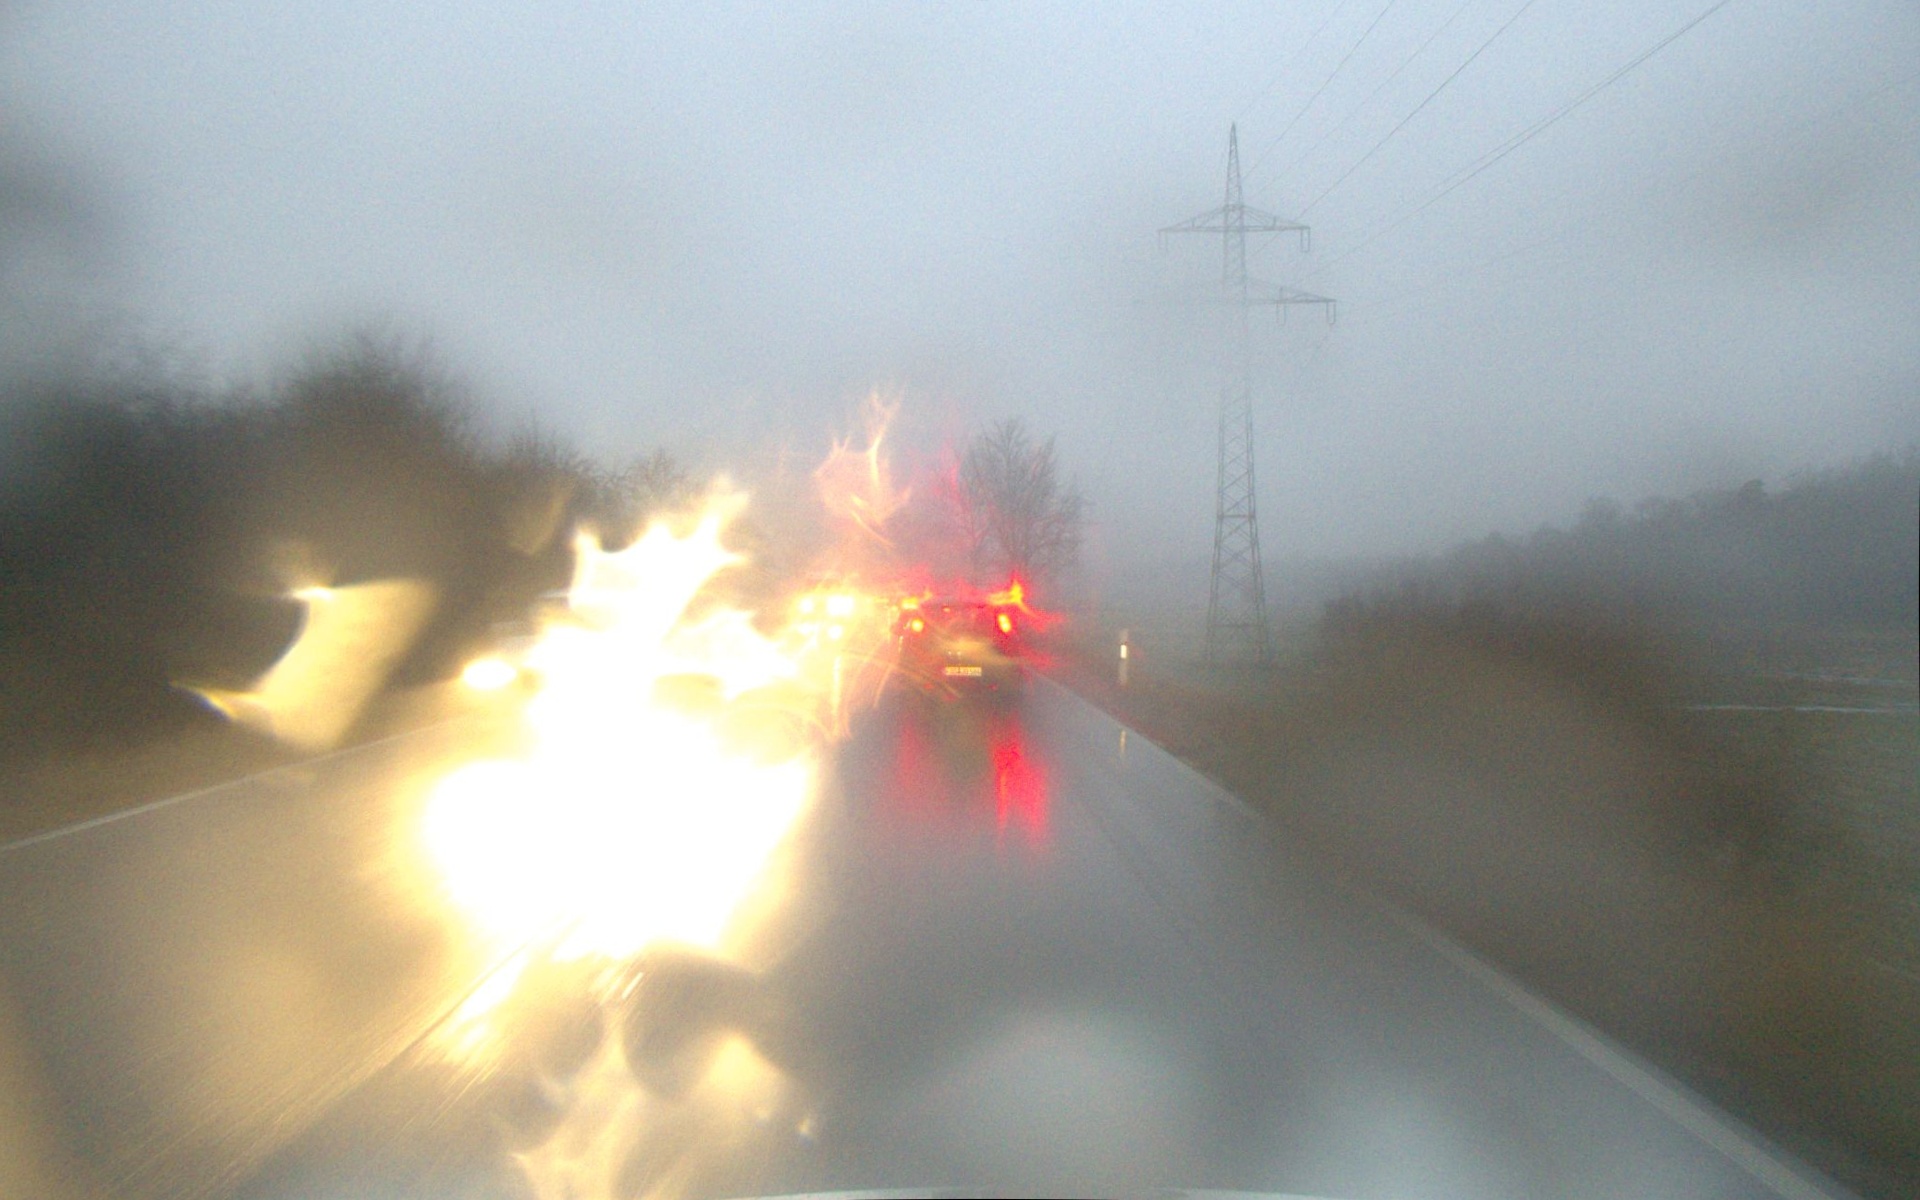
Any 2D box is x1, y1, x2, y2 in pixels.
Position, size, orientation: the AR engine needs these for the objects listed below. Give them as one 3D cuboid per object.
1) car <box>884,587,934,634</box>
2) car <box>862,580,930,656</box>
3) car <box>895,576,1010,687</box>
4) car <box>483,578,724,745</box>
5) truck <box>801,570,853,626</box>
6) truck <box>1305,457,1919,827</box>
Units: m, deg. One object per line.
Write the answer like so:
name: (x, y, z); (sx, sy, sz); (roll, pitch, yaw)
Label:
car: (-2.027, 0.376, 64.670); (1.826, 1.729, 4.465); (1, 0, -3)
car: (-1.768, 0.488, 46.914); (1.815, 2.049, 3.999); (1, 0, -1)
car: (-0.125, 0.406, 23.121); (1.470, 1.423, 3.199); (1, 0, -1)
car: (-3.622, 0.551, 17.542); (1.654, 1.533, 4.412); (1, 0, -1)
truck: (-6.284, -0.095, 78.578); (2.194, 2.510, 5.371); (1, 0, -2)
truck: (6.213, 0.300, 17.179); (2.454, 2.616, 10.799); (1, 0, -3)
